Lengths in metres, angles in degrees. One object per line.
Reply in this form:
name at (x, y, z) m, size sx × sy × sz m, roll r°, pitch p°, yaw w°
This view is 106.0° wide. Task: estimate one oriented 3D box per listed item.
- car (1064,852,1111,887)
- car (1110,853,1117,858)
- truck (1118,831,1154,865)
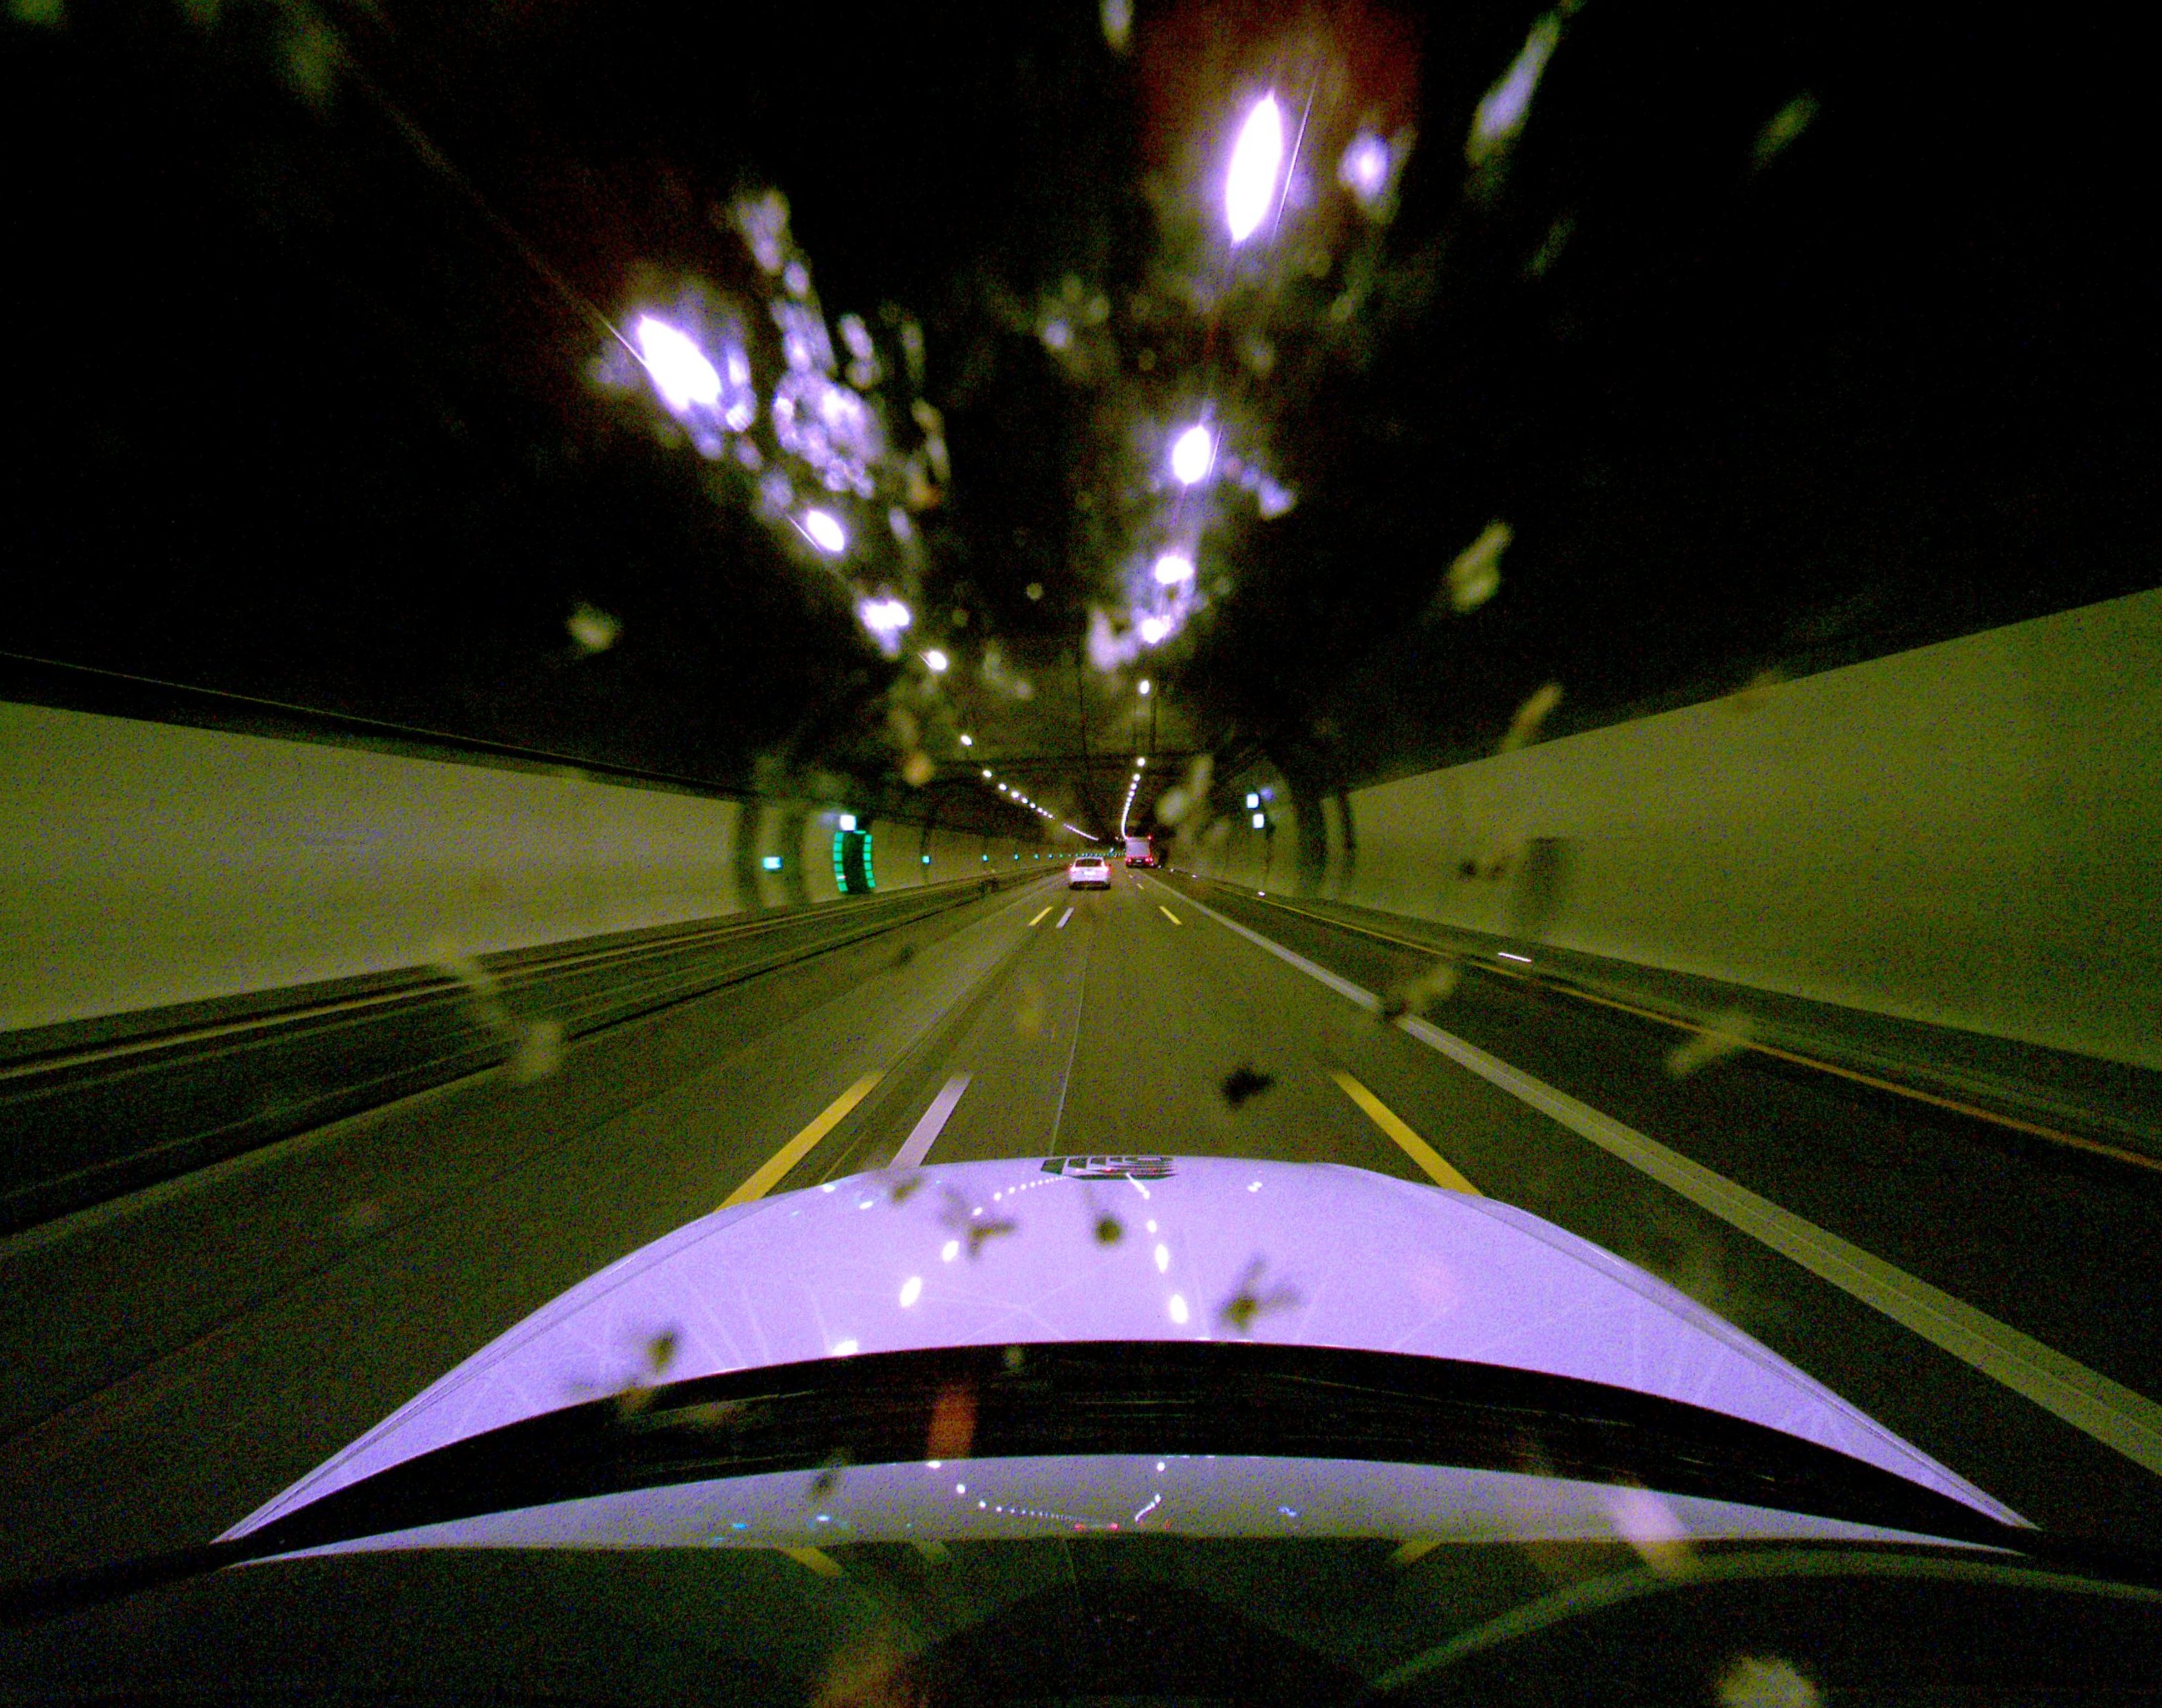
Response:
car at (0.323, 0.646, 36.939) m, size 1.986 × 1.413 × 4.744 m, roll -1°, pitch 0°, yaw 1°
car at (10.408, 0.347, 259.466) m, size 1.983 × 1.519 × 4.006 m, roll -1°, pitch 0°, yaw 6°
truck at (6.197, -0.674, 93.675) m, size 3.580 × 3.650 × 10.725 m, roll -1°, pitch 0°, yaw 1°
